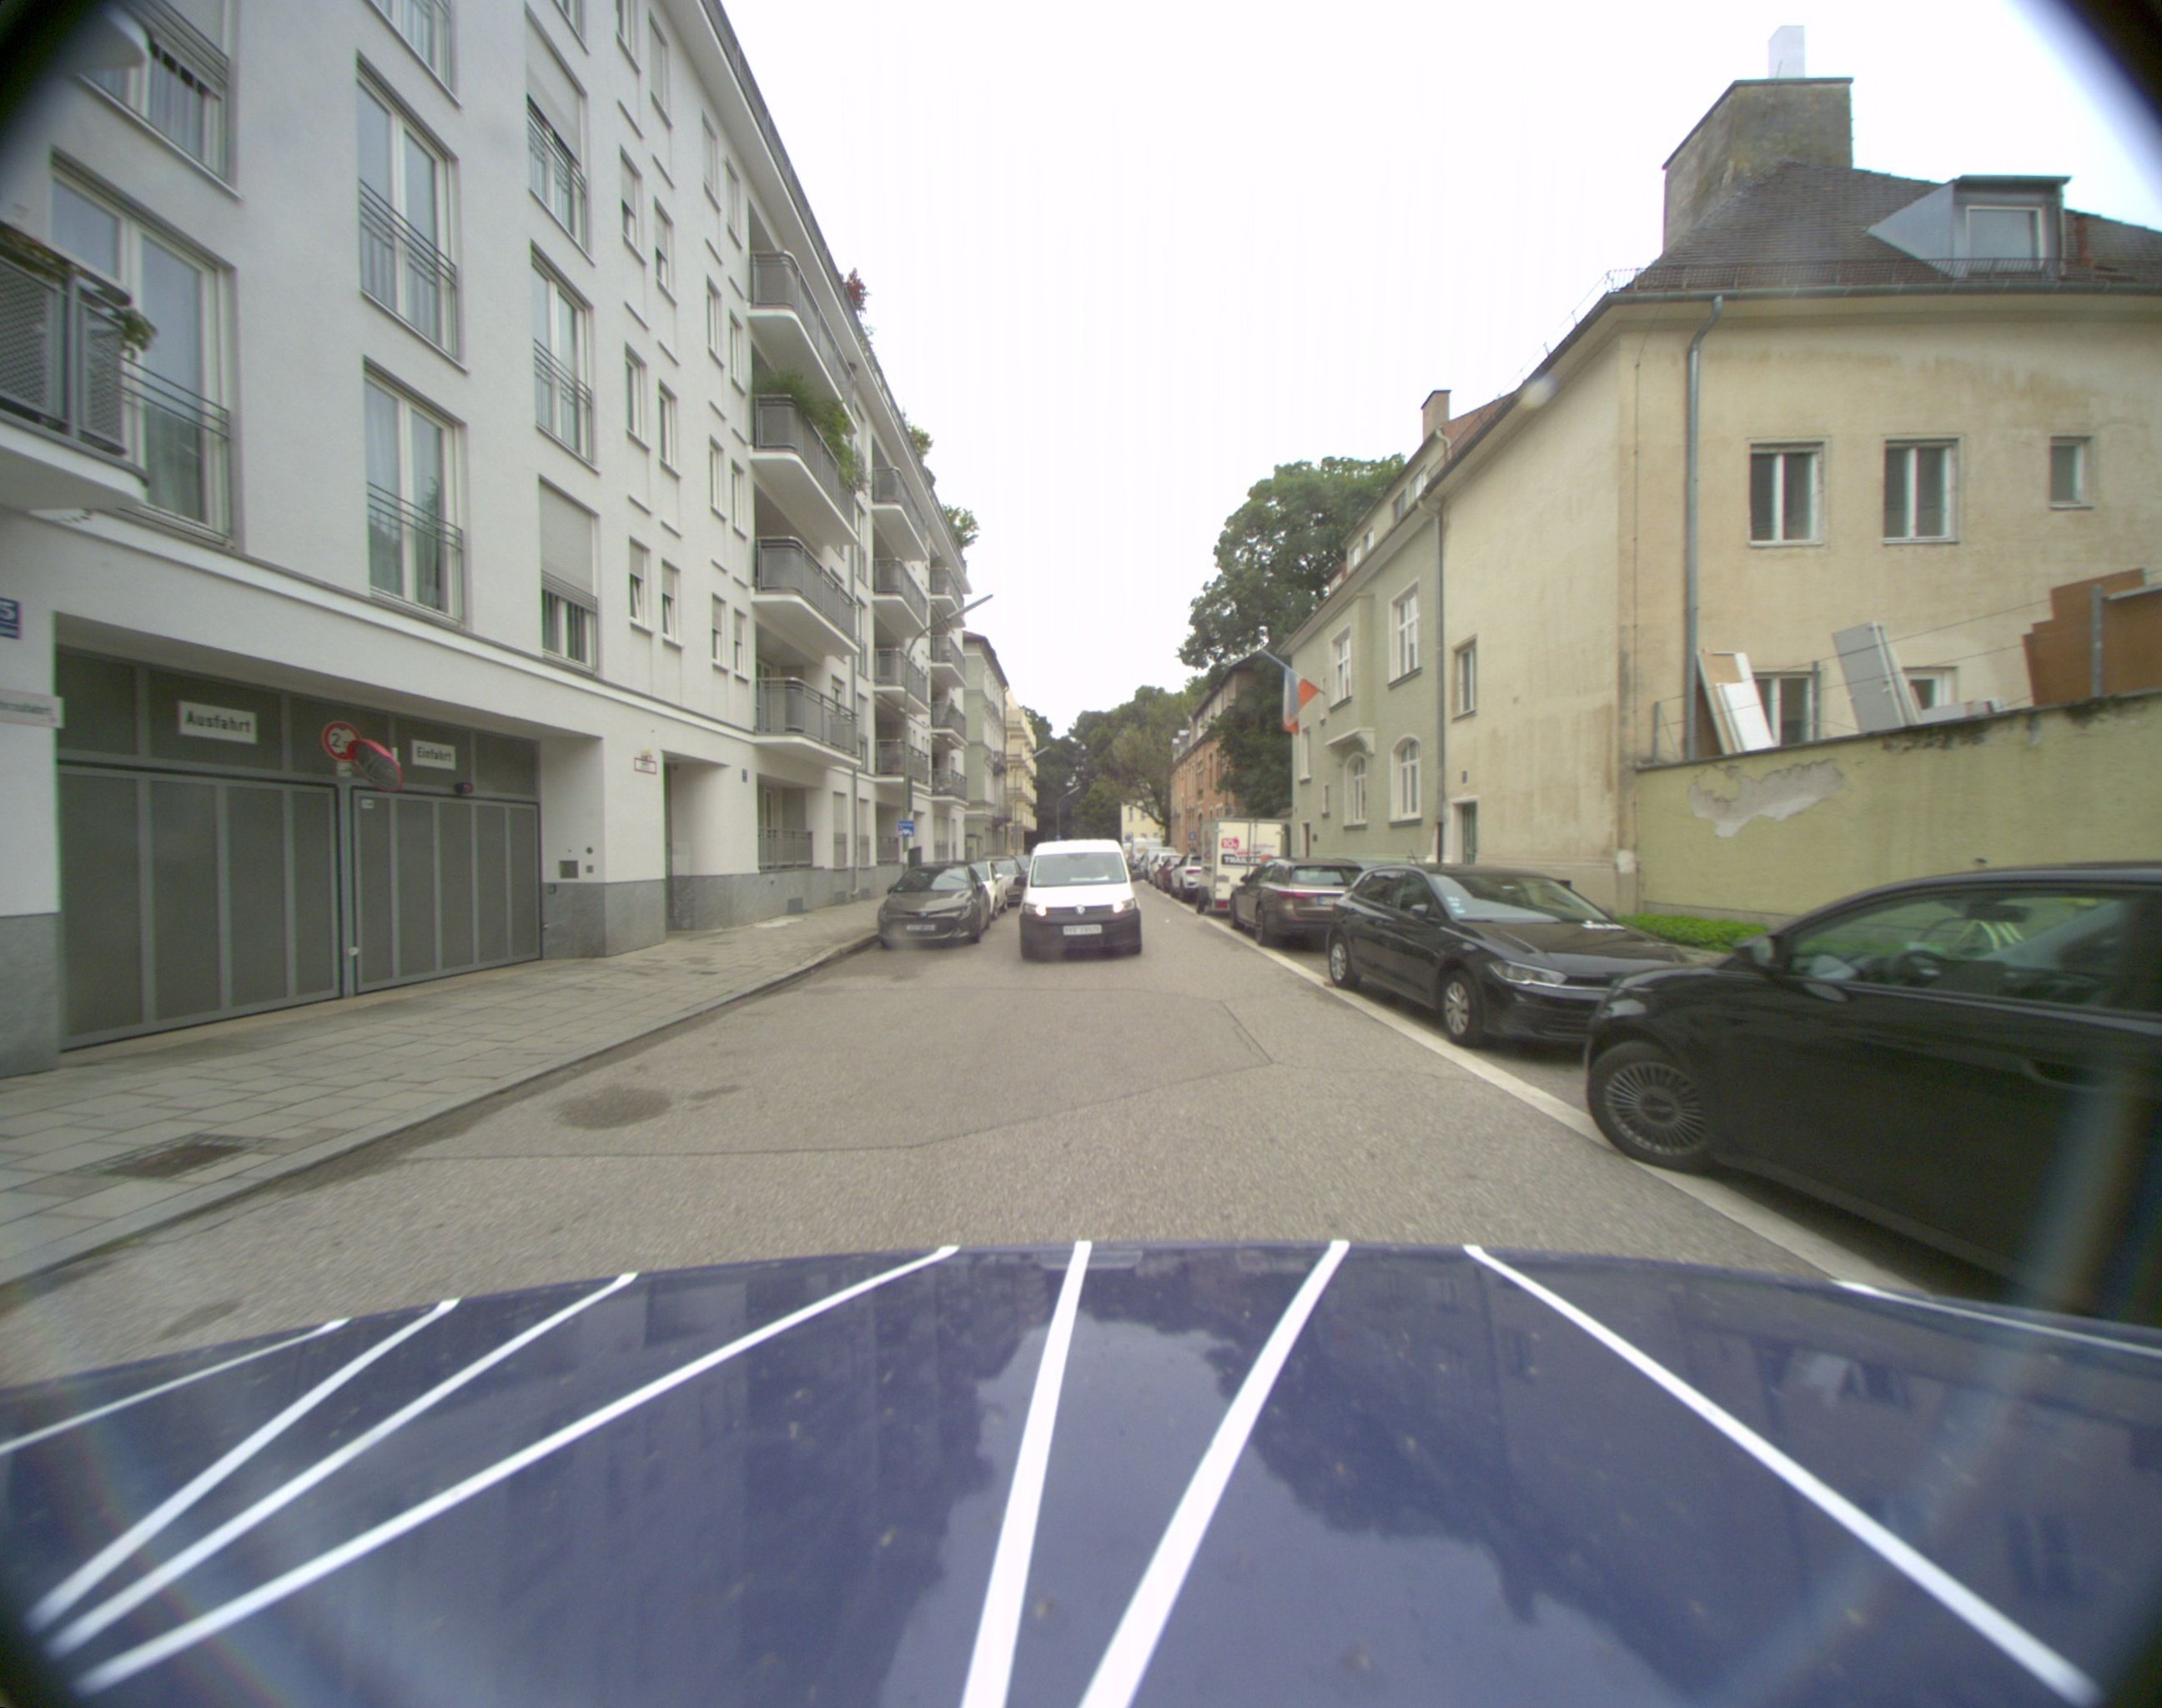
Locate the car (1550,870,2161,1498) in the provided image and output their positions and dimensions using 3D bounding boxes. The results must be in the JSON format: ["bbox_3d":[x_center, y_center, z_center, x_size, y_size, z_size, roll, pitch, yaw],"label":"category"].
[{"bbox_3d":[3.532,0.892,2.470,1.590,1.529,3.541,1,1,-5],"label":"car"}]

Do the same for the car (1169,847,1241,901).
[{"bbox_3d":[3.942,0.585,24.726,1.691,1.594,3.920,0,1,0],"label":"car"}]

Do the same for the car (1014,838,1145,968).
[{"bbox_3d":[0.035,0.663,12.498,1.776,1.761,4.000,-1,1,2],"label":"car"}]

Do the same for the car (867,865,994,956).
[{"bbox_3d":[-2.762,0.981,14.846,1.768,1.399,4.077,-2,0,-2],"label":"car"}]

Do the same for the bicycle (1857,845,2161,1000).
[{"bbox_3d":[8.197,0.540,6.802,0.679,1.185,1.777,-2,0,2],"label":"bicycle"}]

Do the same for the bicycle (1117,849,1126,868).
[{"bbox_3d":[2.359,0.256,44.492,0.505,1.121,1.773,0,0,3],"label":"bicycle"}]

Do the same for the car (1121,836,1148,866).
[{"bbox_3d":[4.793,-0.246,68.502,2.118,2.525,4.422,1,-1,1],"label":"car"}]

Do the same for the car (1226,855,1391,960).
[{"bbox_3d":[3.822,0.795,13.588,1.770,1.529,4.541,0,0,3],"label":"car"}]

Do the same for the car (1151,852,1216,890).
[{"bbox_3d":[4.006,0.628,30.354,1.866,1.404,4.332,0,0,-2],"label":"car"}]

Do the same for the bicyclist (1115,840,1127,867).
[{"bbox_3d":[2.342,-0.010,44.419,0.695,1.552,0.967,0,0,3],"label":"bicyclist"}]

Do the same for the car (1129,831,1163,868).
[{"bbox_3d":[4.438,-0.282,52.439,1.986,2.463,5.223,0,0,1],"label":"car"}]

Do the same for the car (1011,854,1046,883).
[{"bbox_3d":[-2.759,0.745,40.691,1.623,1.404,3.553,-4,0,-2],"label":"car"}]

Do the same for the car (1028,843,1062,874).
[{"bbox_3d":[-2.370,0.325,51.386,1.858,1.885,4.592,-4,0,2],"label":"car"}]

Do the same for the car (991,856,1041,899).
[{"bbox_3d":[-2.555,0.892,30.654,1.608,1.521,3.984,-4,0,-1],"label":"car"}]

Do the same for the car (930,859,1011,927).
[{"bbox_3d":[-2.777,0.932,19.659,1.523,1.521,3.526,-3,0,0],"label":"car"}]

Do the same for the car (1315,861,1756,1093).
[{"bbox_3d":[3.698,0.851,7.087,1.705,1.437,3.823,-2,1,-2],"label":"car"}]

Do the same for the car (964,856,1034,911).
[{"bbox_3d":[-2.568,0.878,24.759,1.738,1.521,4.621,-4,0,-1],"label":"car"}]

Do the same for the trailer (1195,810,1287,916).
[{"bbox_3d":[4.047,0.230,19.865,1.713,2.447,4.388,0,0,3],"label":"trailer"}]

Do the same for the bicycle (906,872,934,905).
[{"bbox_3d":[-6.069,1.279,28.758,0.629,1.153,2.127,-1,0,-2],"label":"bicycle"}]

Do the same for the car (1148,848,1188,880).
[{"bbox_3d":[4.053,0.464,35.729,1.477,1.458,3.313,0,0,-1],"label":"car"}]

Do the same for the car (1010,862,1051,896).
[{"bbox_3d":[-2.378,1.153,36.507,1.662,1.431,4.206,-4,0,-1],"label":"car"}]

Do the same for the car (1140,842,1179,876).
[{"bbox_3d":[4.264,0.257,41.958,1.694,1.793,4.145,0,0,-1],"label":"car"}]
